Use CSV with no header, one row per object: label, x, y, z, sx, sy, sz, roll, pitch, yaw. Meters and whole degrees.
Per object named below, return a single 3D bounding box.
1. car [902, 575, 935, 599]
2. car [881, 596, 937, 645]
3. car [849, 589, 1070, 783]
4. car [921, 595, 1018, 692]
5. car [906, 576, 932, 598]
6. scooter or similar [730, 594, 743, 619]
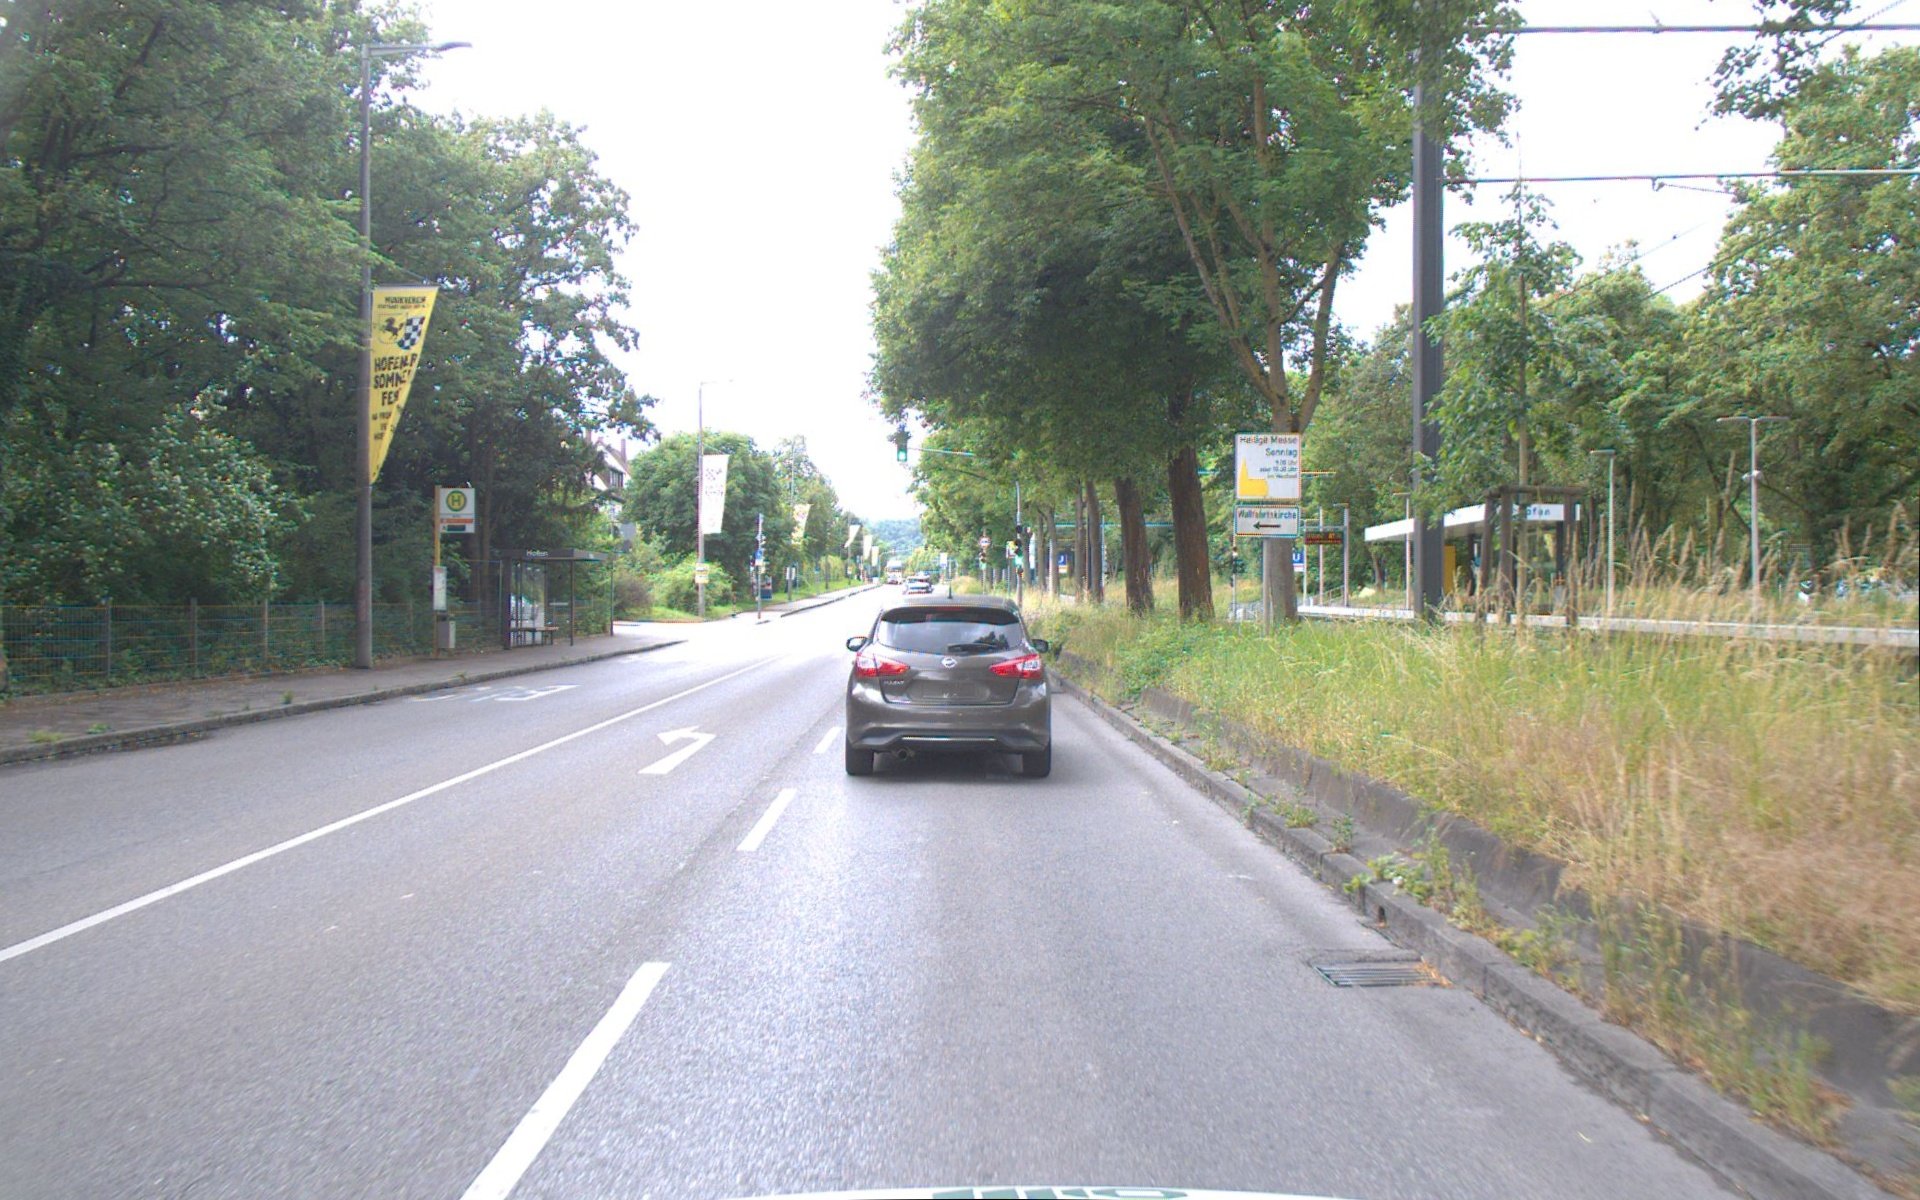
car,-2.535,-0.783,101.404,1.953,1.344,3.999,2,0,-1
car,-1.558,0.609,51.394,1.657,1.466,3.541,0,0,-1
car,-0.020,0.682,14.970,1.747,1.533,3.695,0,0,-1
car,0.111,0.660,27.210,1.471,1.466,3.541,0,0,-1
car,-3.207,-1.007,130.300,1.953,1.601,3.999,2,0,-1
scooter or similar,-11.314,0.325,83.753,0.453,1.281,1.426,0,0,0
